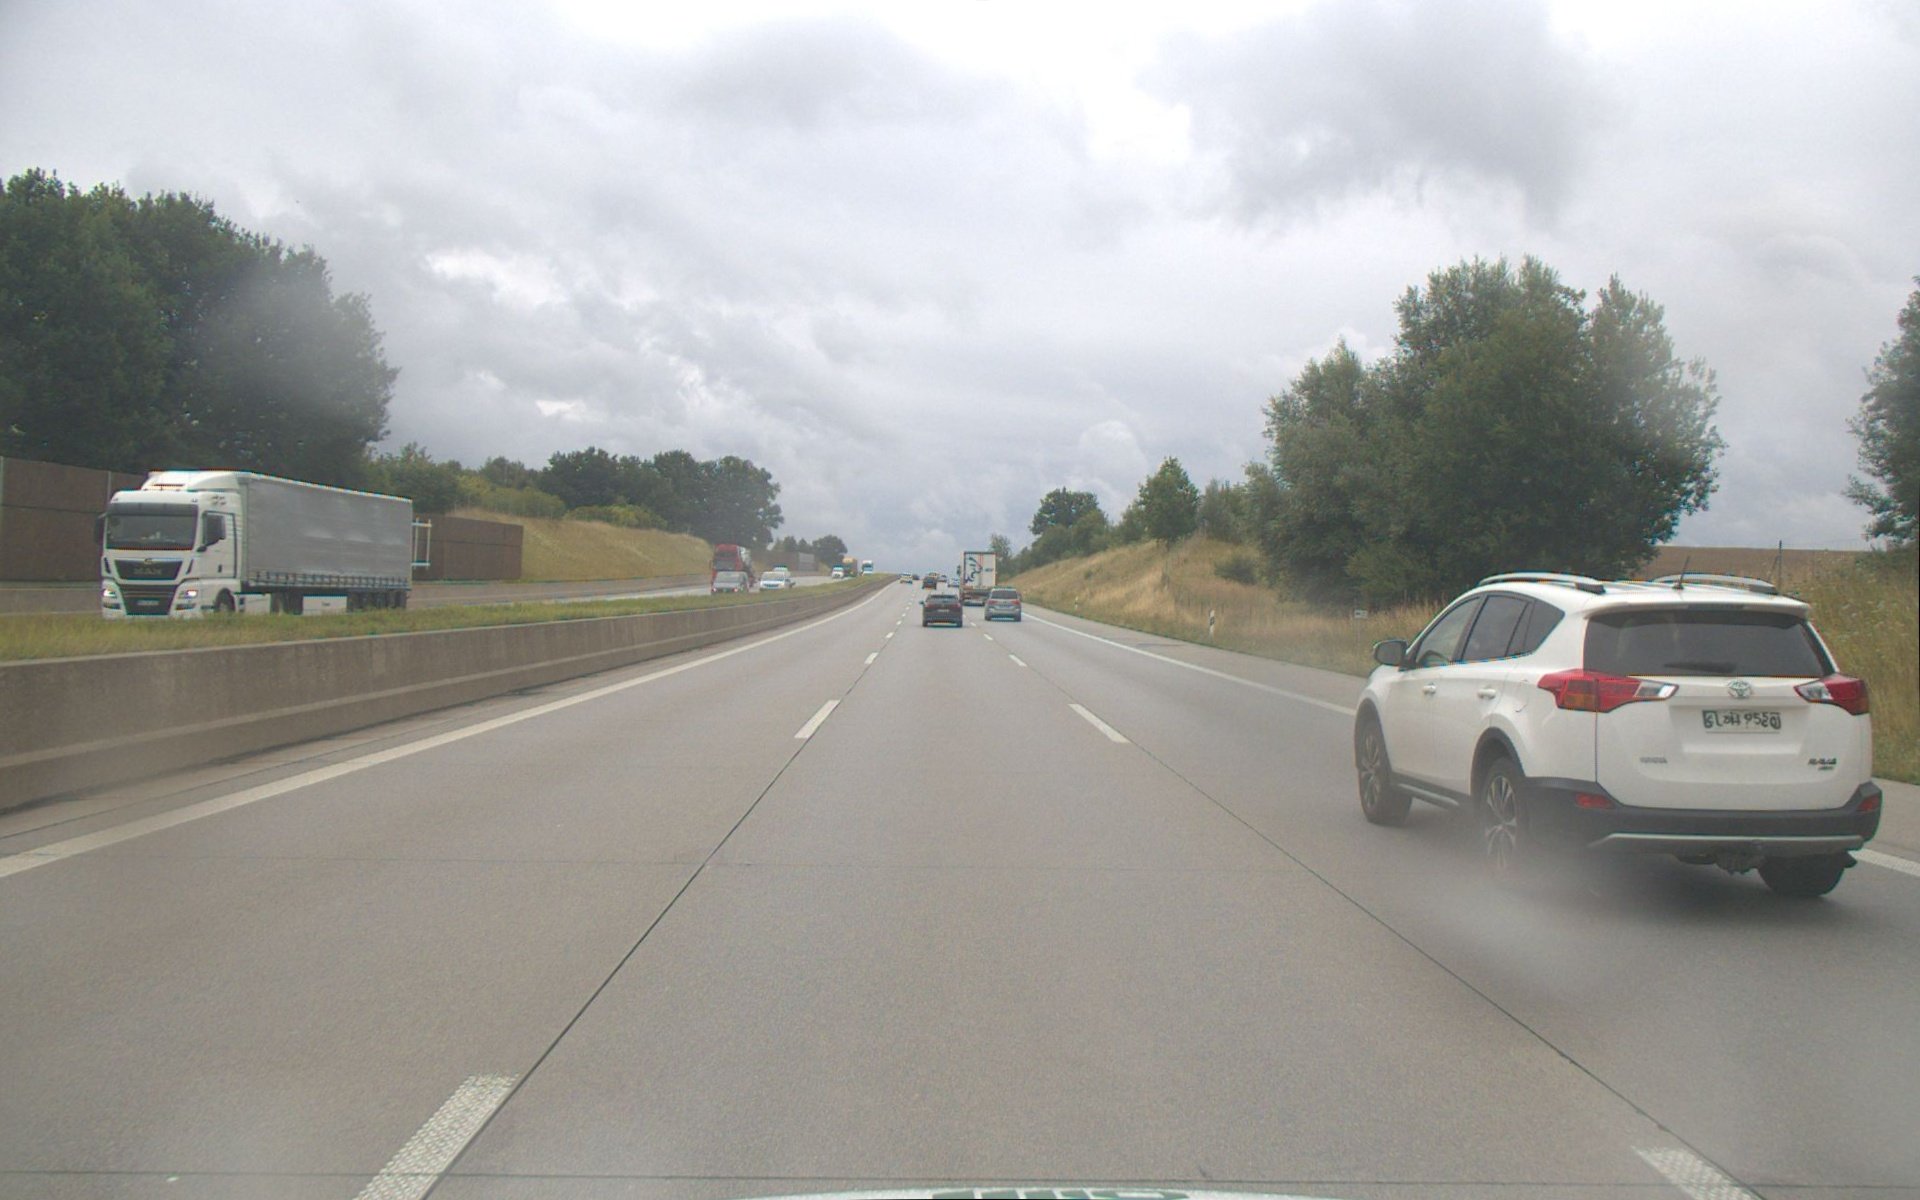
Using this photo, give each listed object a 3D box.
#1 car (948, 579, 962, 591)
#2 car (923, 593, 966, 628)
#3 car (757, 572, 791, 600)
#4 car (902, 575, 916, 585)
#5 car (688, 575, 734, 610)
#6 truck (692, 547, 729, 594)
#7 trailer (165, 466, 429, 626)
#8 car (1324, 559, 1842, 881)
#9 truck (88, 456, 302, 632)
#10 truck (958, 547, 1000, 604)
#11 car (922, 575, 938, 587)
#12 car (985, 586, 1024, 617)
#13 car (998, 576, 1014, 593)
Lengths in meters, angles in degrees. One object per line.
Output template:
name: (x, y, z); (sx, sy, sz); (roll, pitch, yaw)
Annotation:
car: (-0.688, -2.204, 244.674); (1.952, 1.668, 4.000); (1, 0, 1)
car: (-0.688, 0.461, 71.282); (1.717, 1.422, 4.482); (1, 0, -2)
car: (-13.497, -1.006, 120.444); (1.953, 1.919, 5.511); (1, 0, -2)
car: (-7.625, -3.008, 245.301); (1.907, 1.379, 4.259); (1, 0, 0)
car: (-14.731, -0.477, 98.033); (1.953, 1.952, 5.344); (1, 1, -1)
truck: (-23.637, -2.732, 156.902); (2.501, 4.326, 7.461); (1, 0, -2)
trailer: (-19.752, -1.430, 50.674); (2.642, 4.167, 14.001); (1, 0, -1)
car: (3.755, 0.638, 10.785); (1.789, 1.684, 3.984); (1, 0, -1)
truck: (-19.574, -1.346, 42.757); (2.628, 4.155, 6.215); (1, 0, -1)
truck: (1.407, -1.838, 128.243); (2.956, 4.253, 8.352); (1, 0, -1)
car: (-3.813, -2.390, 211.224); (1.895, 1.399, 4.594); (2, -1, 0)
car: (2.259, 0.072, 84.623); (1.952, 1.557, 4.000); (1, 0, 1)
car: (5.708, -1.867, 205.957); (1.952, 2.049, 4.000); (1, 0, 1)
